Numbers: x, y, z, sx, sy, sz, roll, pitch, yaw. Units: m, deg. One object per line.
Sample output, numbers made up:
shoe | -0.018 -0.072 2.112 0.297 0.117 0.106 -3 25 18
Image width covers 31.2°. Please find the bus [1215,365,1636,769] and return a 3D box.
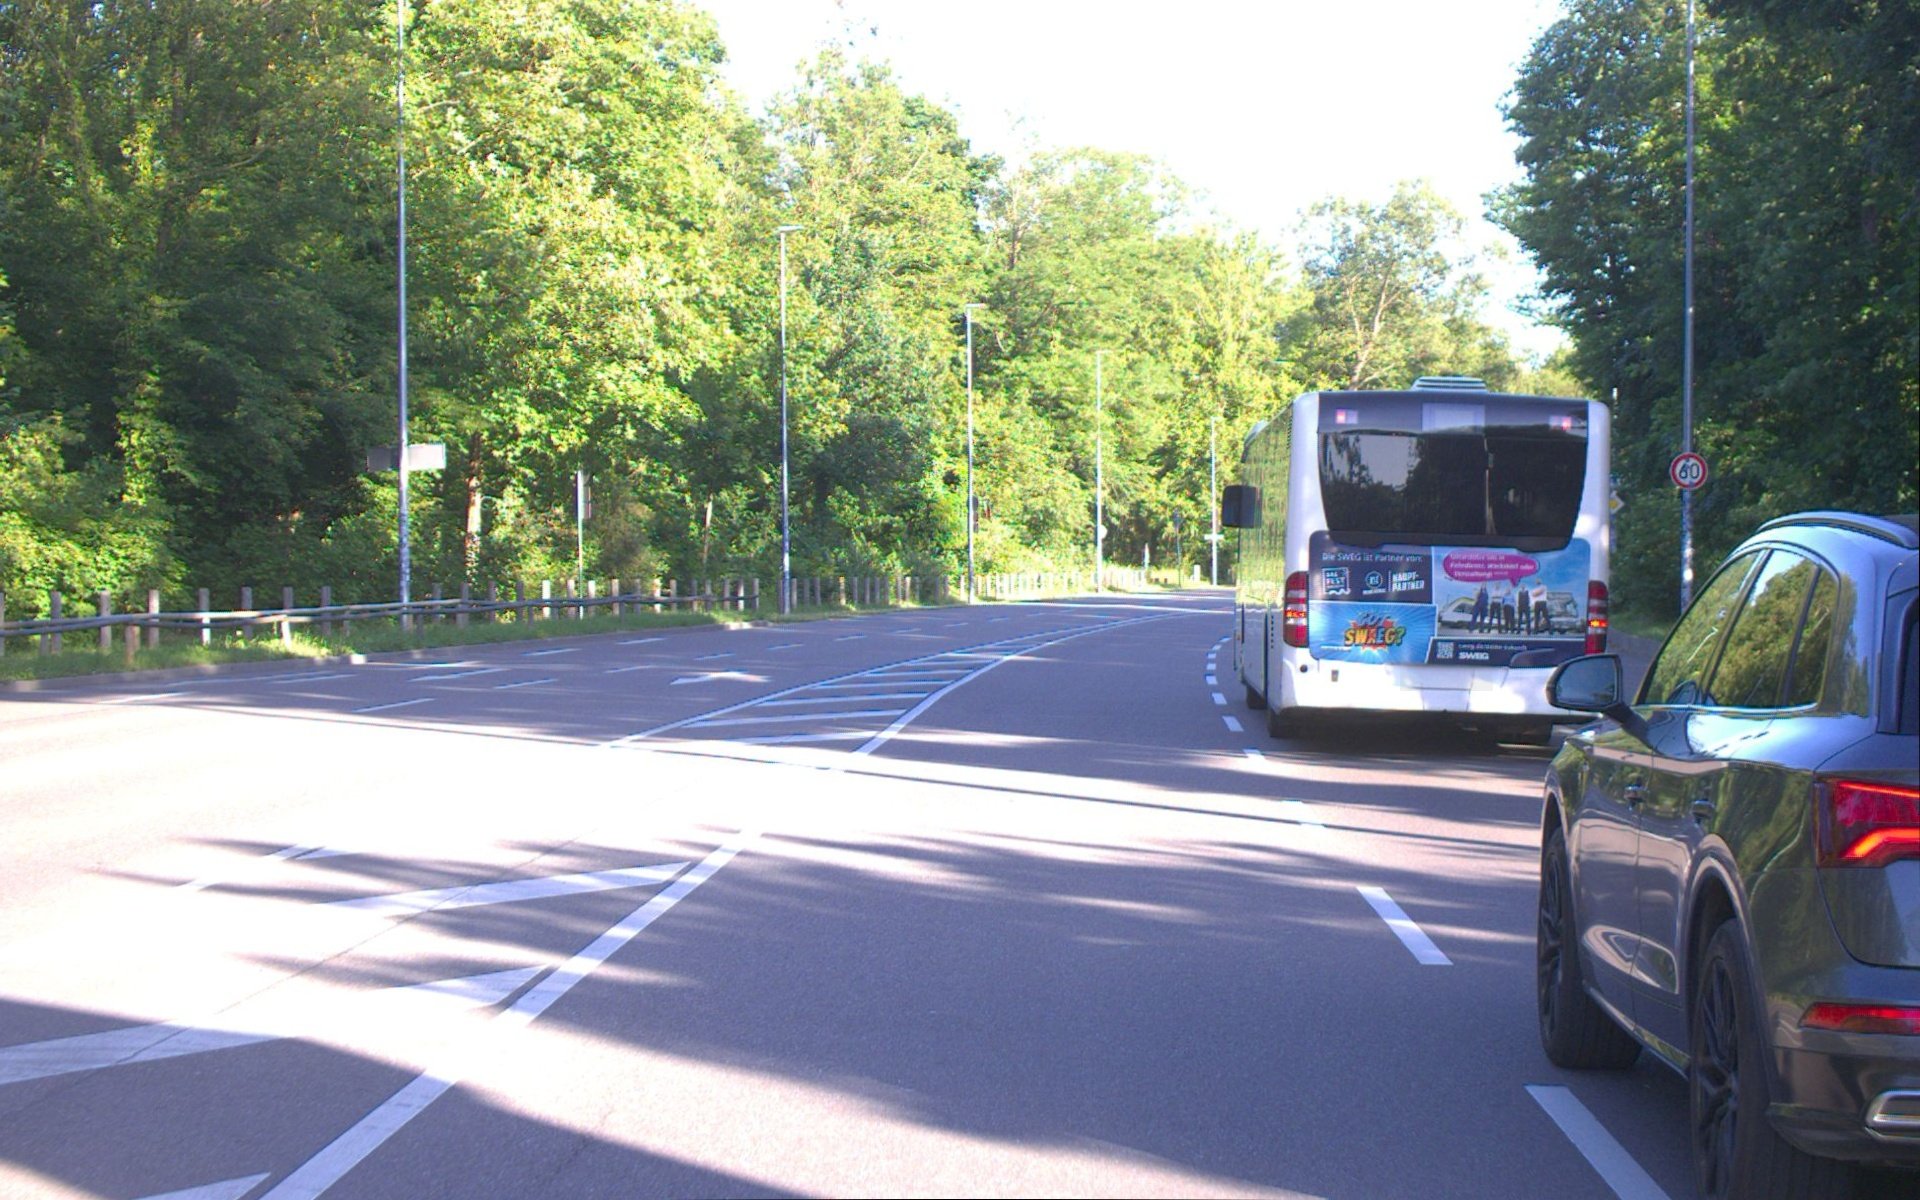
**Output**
bus | 4.005 -0.326 32.342 2.690 3.032 12.040 1 1 2

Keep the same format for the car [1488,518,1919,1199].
car | 2.597 0.656 8.798 1.893 1.600 4.544 1 0 2
